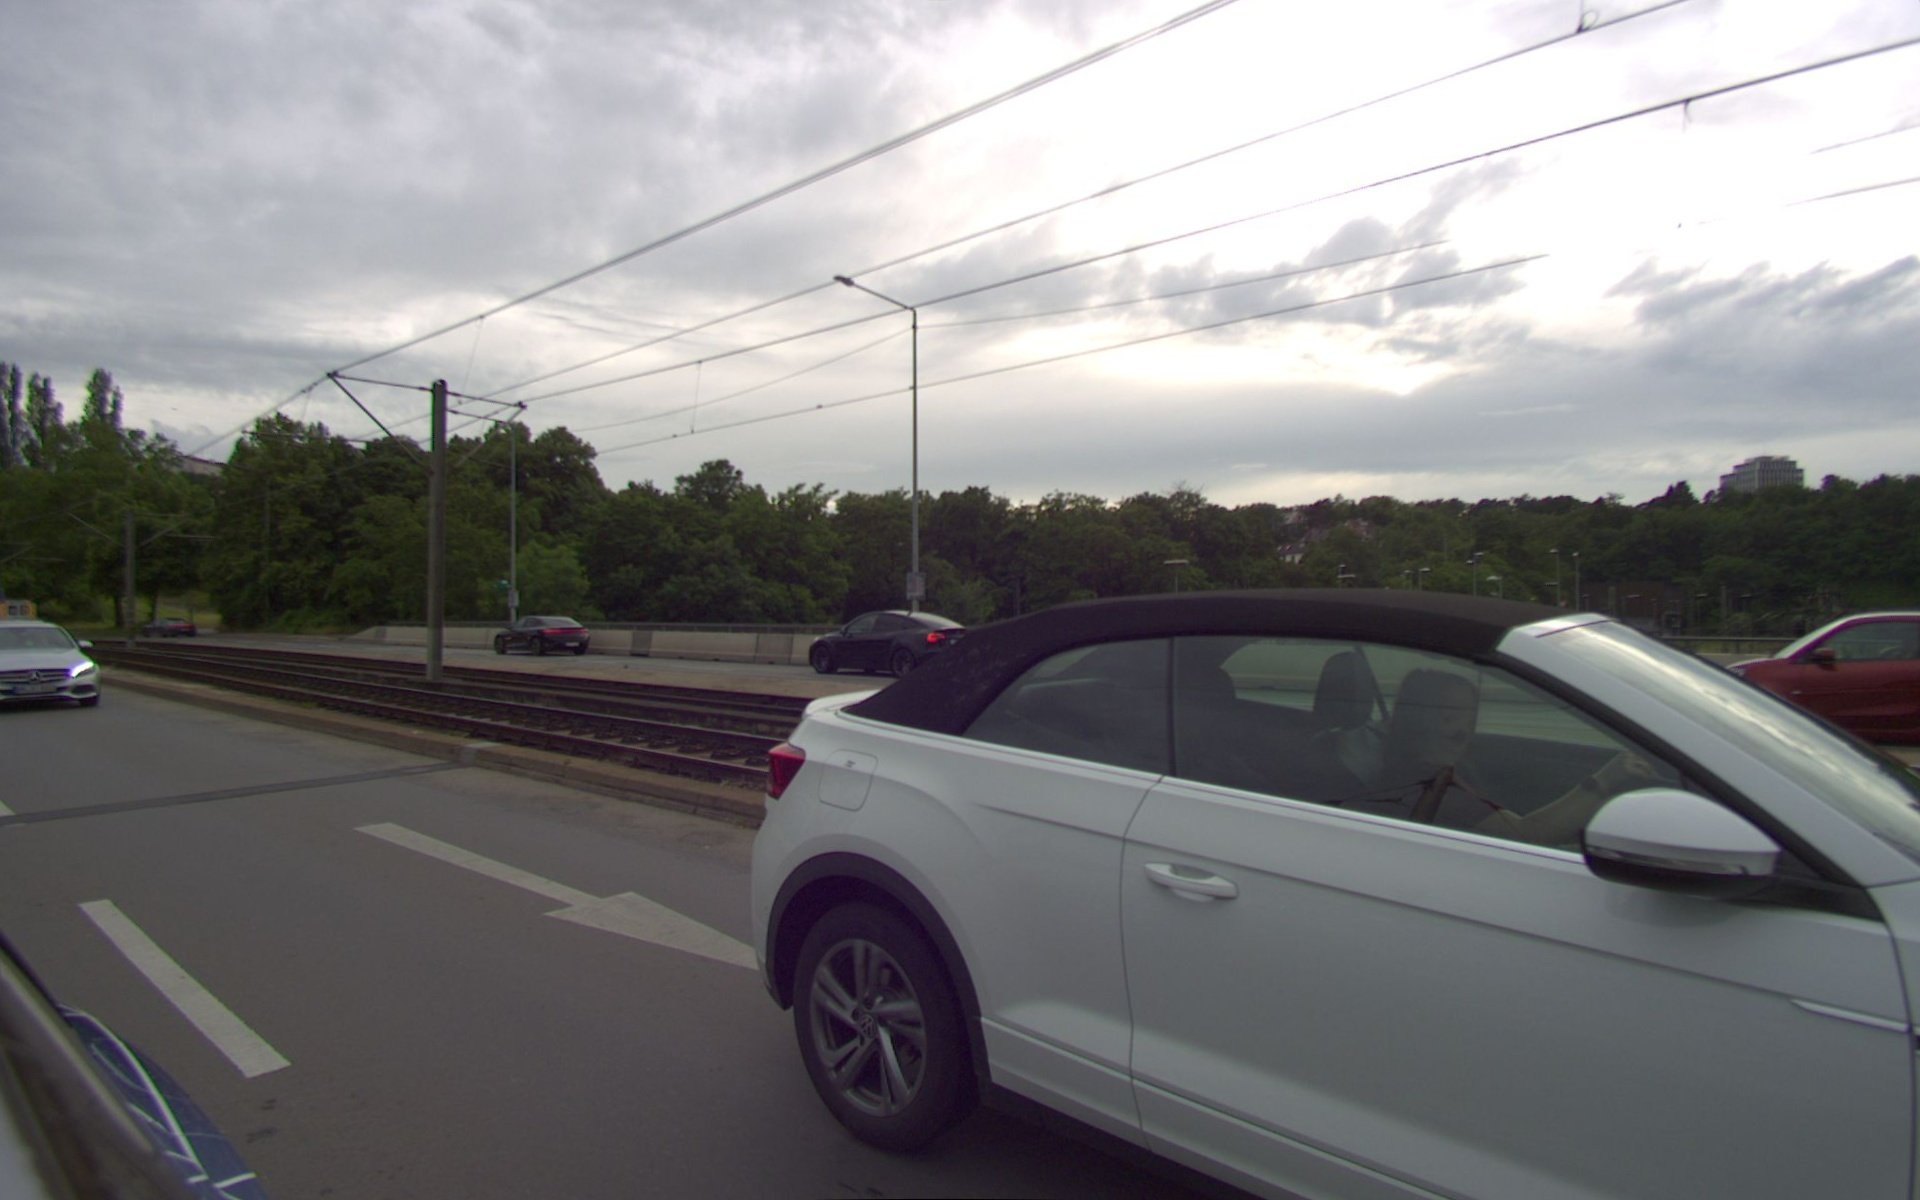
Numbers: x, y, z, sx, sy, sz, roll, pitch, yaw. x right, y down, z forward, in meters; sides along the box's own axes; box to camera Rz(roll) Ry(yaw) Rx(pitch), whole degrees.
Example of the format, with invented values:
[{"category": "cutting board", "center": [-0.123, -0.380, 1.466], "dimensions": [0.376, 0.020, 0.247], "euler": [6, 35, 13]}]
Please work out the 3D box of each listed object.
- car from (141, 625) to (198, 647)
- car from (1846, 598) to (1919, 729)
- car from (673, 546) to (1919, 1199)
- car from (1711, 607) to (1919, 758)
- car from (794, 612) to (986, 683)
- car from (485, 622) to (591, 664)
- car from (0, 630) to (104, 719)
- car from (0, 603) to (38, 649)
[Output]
[{"category": "car", "center": [-53.080, 2.413, 67.931], "dimensions": [4.611, 1.324, 1.820], "euler": [-2, 0, 37]}, {"category": "car", "center": [13.840, 0.805, 11.847], "dimensions": [5.182, 1.609, 1.948], "euler": [0, -2, 41]}, {"category": "car", "center": [1.381, 0.697, 2.446], "dimensions": [4.538, 1.535, 1.852], "euler": [0, 0, 42]}, {"category": "car", "center": [9.985, 0.852, 10.863], "dimensions": [3.015, 1.505, 1.584], "euler": [-1, -2, 40]}, {"category": "car", "center": [-1.807, 1.172, 25.151], "dimensions": [4.725, 1.609, 1.878], "euler": [-2, -3, 38]}, {"category": "car", "center": [-15.876, 1.582, 37.940], "dimensions": [4.739, 1.447, 1.797], "euler": [-2, -2, 42]}, {"category": "car", "center": [-16.158, 1.200, 17.262], "dimensions": [4.059, 1.366, 1.847], "euler": [-2, -2, 42]}, {"category": "car", "center": [-68.022, 1.825, 71.480], "dimensions": [6.328, 3.139, 2.374], "euler": [-1, 0, 29]}]
